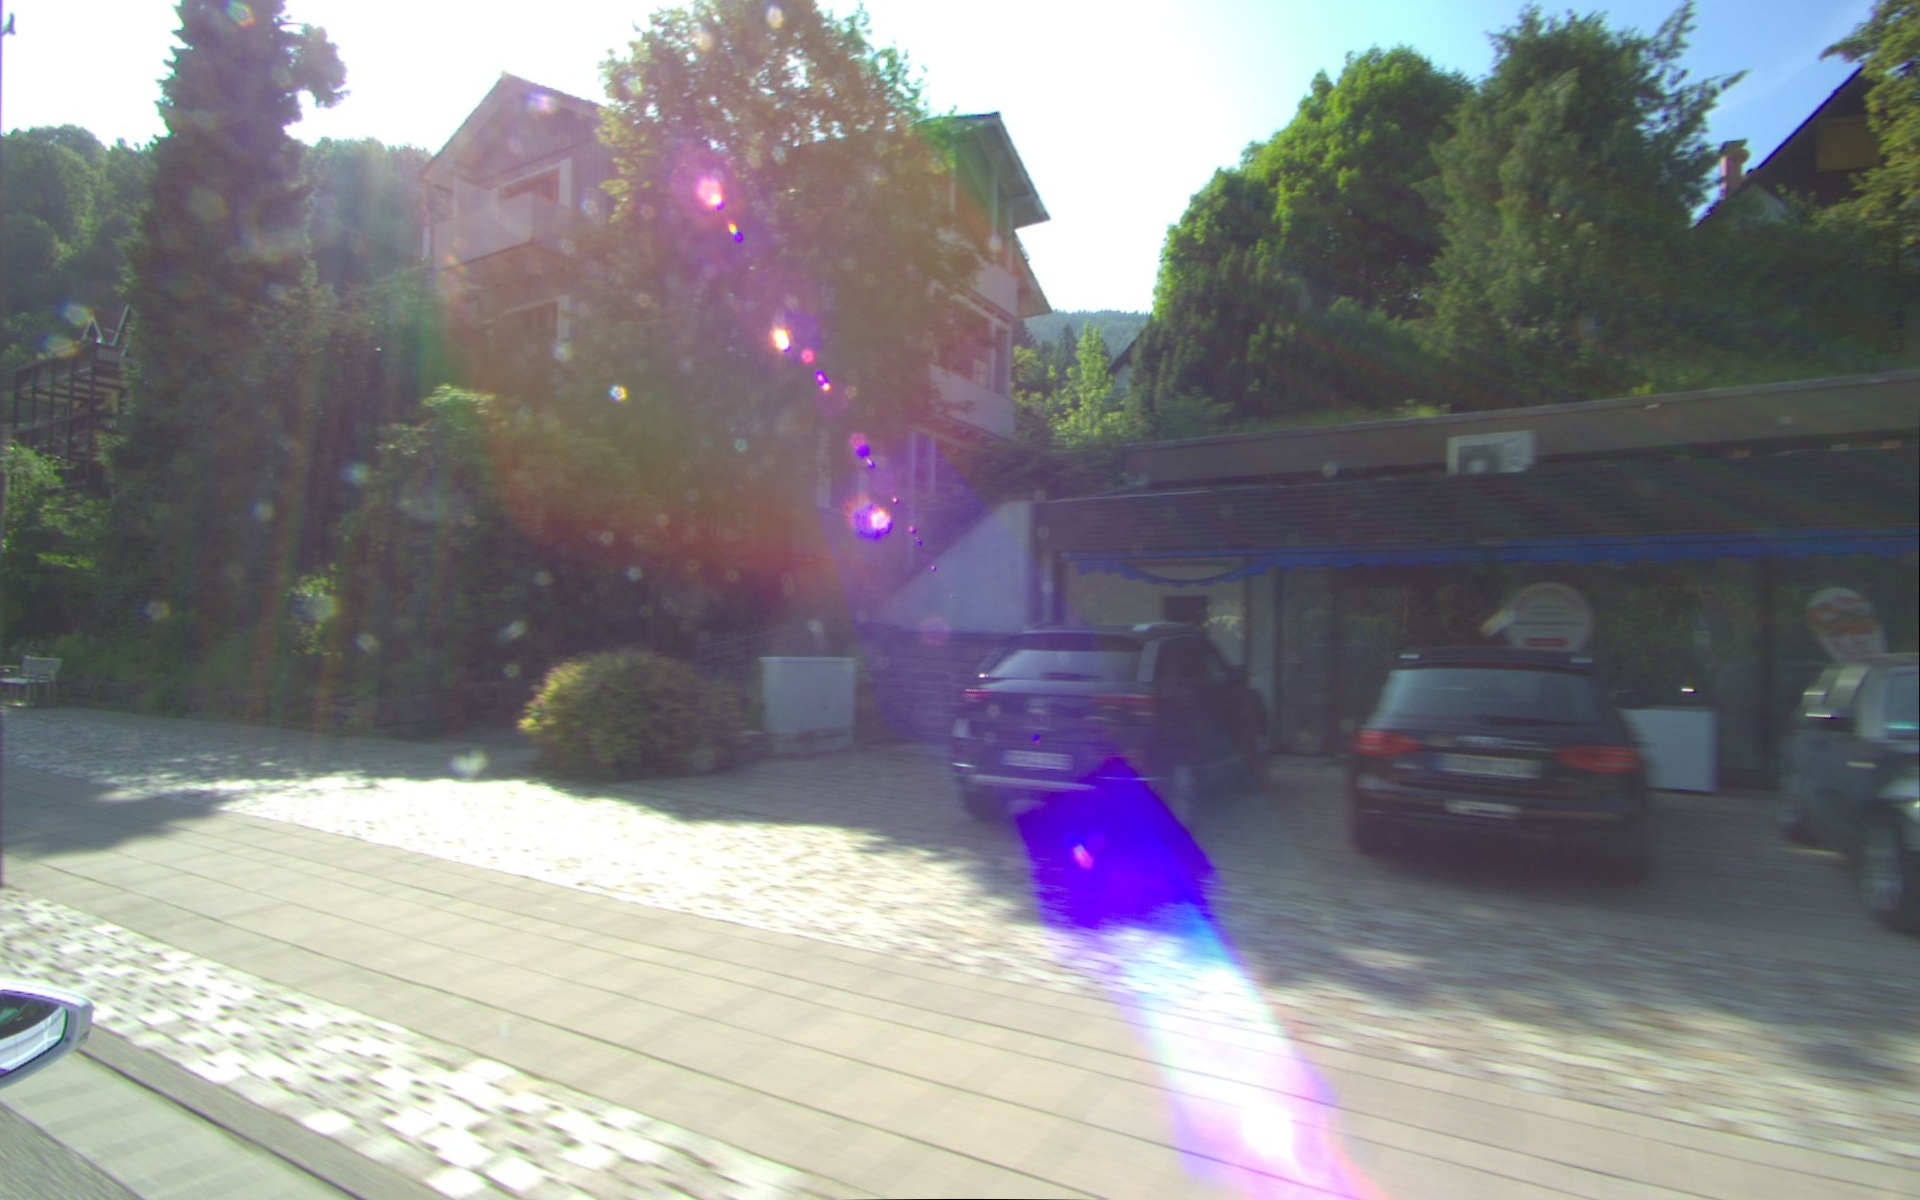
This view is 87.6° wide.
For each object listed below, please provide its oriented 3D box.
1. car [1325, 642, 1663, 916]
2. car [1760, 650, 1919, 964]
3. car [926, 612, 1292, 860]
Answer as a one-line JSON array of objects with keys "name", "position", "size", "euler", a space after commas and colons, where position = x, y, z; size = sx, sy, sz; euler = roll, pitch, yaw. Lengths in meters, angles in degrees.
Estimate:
[{"name": "car", "position": [4.070, 1.038, 7.518], "size": [1.723, 1.433, 4.103], "euler": [-1, -2, 32]}, {"name": "car", "position": [6.165, 1.019, 5.945], "size": [1.685, 1.396, 4.256], "euler": [-1, -2, 32]}, {"name": "car", "position": [1.493, 0.954, 8.593], "size": [1.723, 1.600, 3.870], "euler": [0, -2, 32]}]
